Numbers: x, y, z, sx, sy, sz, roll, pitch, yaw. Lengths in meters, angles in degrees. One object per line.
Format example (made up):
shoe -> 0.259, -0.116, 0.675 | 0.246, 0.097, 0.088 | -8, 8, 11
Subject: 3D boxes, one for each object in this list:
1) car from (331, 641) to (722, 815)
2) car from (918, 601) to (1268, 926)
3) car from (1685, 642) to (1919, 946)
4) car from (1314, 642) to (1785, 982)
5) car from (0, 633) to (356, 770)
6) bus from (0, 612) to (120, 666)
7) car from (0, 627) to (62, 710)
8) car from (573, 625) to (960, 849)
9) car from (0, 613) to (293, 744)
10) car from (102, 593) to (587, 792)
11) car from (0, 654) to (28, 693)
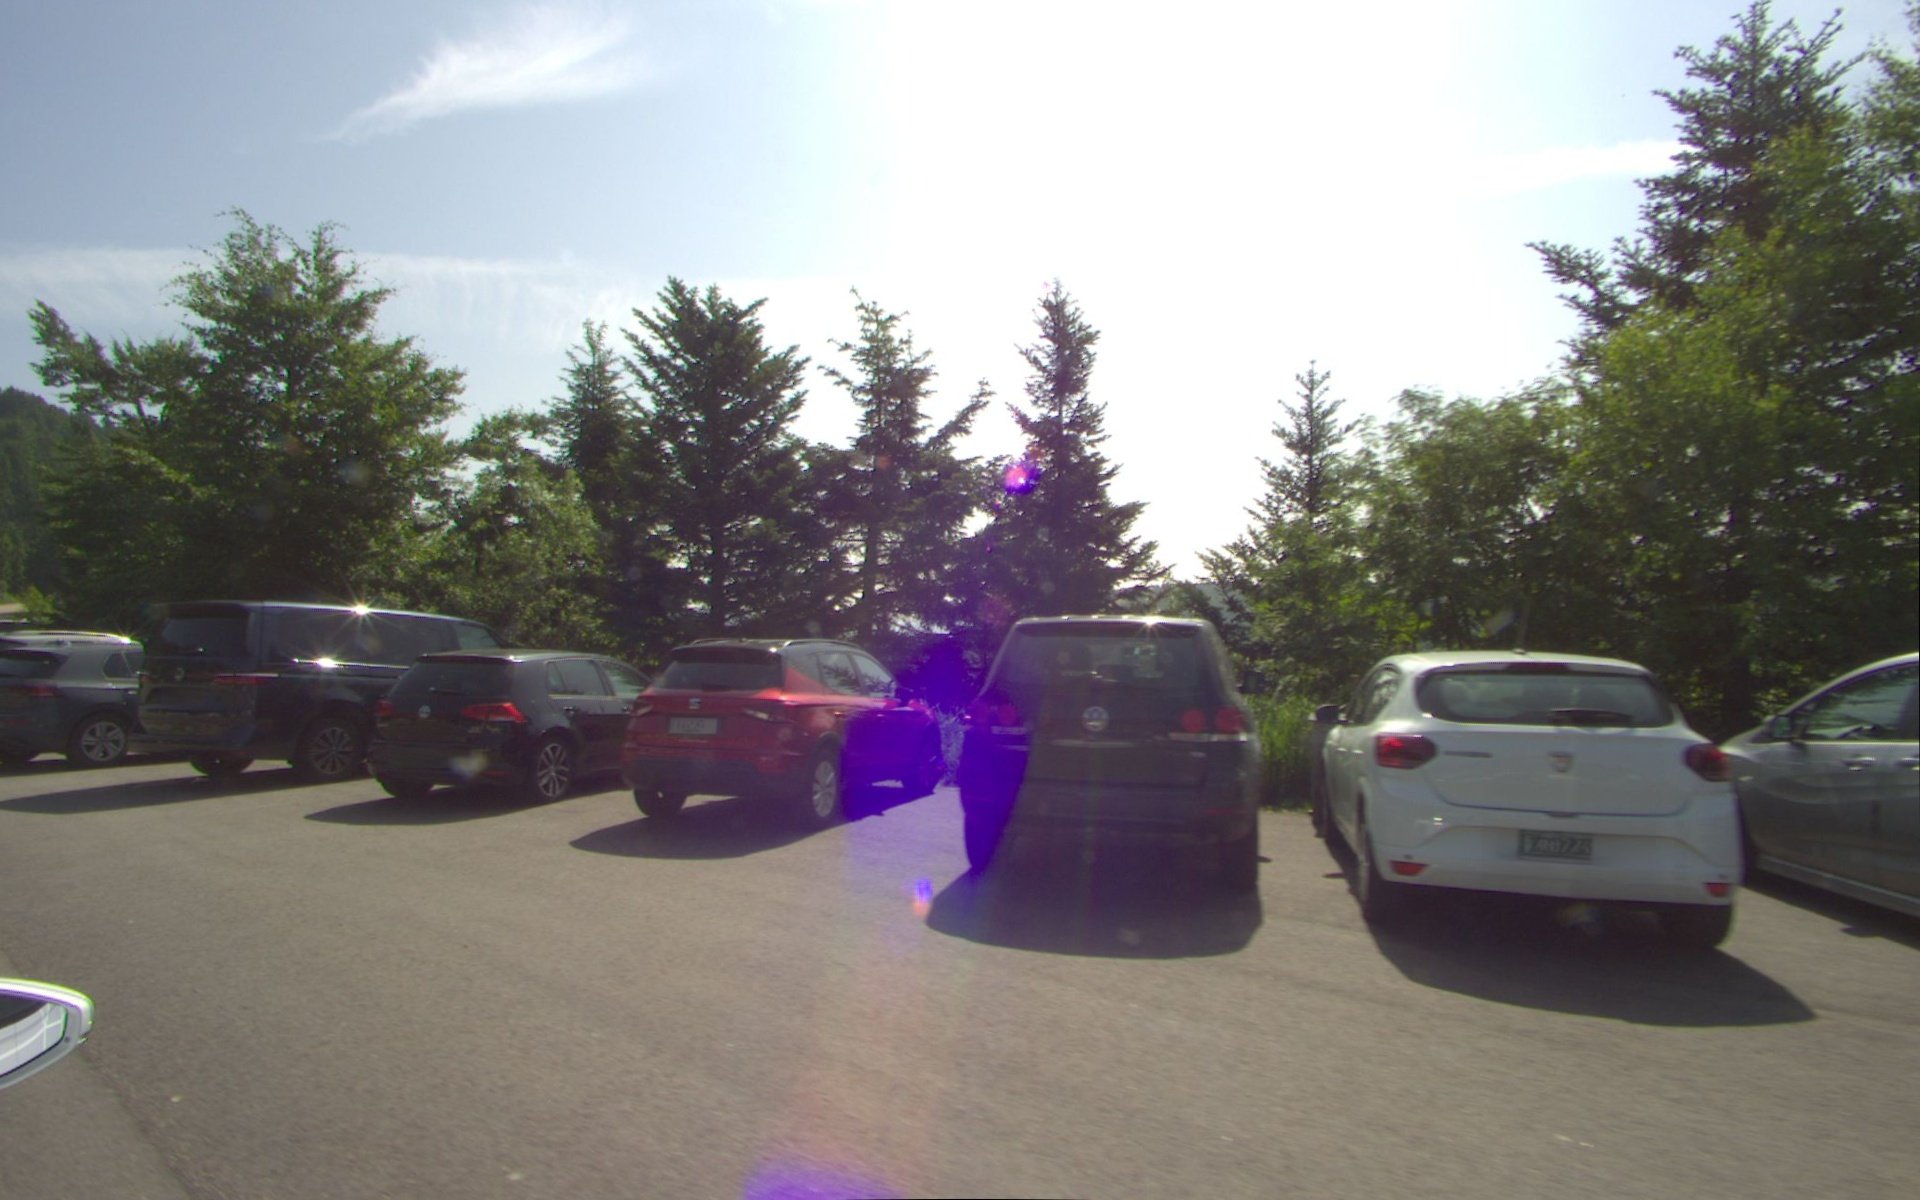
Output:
car -> -4.262, 1.217, 10.640 | 1.712, 1.432, 4.000 | 1, -3, 14
car -> 1.310, 1.012, 7.708 | 1.955, 1.715, 4.272 | 1, -3, 17
car -> 5.867, 1.024, 5.159 | 1.785, 1.568, 4.003 | 1, -3, 8
car -> 3.395, 1.081, 6.649 | 1.735, 1.494, 3.999 | 0, -4, 16
car -> -10.352, 1.226, 13.019 | 1.807, 1.460, 3.996 | 1, -3, 20
bus -> -66.678, 2.688, 69.298 | 12.731, 3.625, 2.963 | 2, 0, -33
car -> -25.015, 1.712, 25.974 | 4.765, 1.995, 1.898 | -2, -6, 42
car -> -1.536, 1.144, 9.551 | 1.831, 1.609, 3.996 | 1, -3, 19
car -> -12.657, 1.211, 15.070 | 1.963, 1.681, 4.004 | 0, -6, 13
car -> -7.026, 1.032, 12.173 | 1.933, 1.903, 4.766 | 0, -3, 22
car -> -34.536, 2.379, 33.580 | 1.556, 1.313, 4.461 | 1, -5, 25
